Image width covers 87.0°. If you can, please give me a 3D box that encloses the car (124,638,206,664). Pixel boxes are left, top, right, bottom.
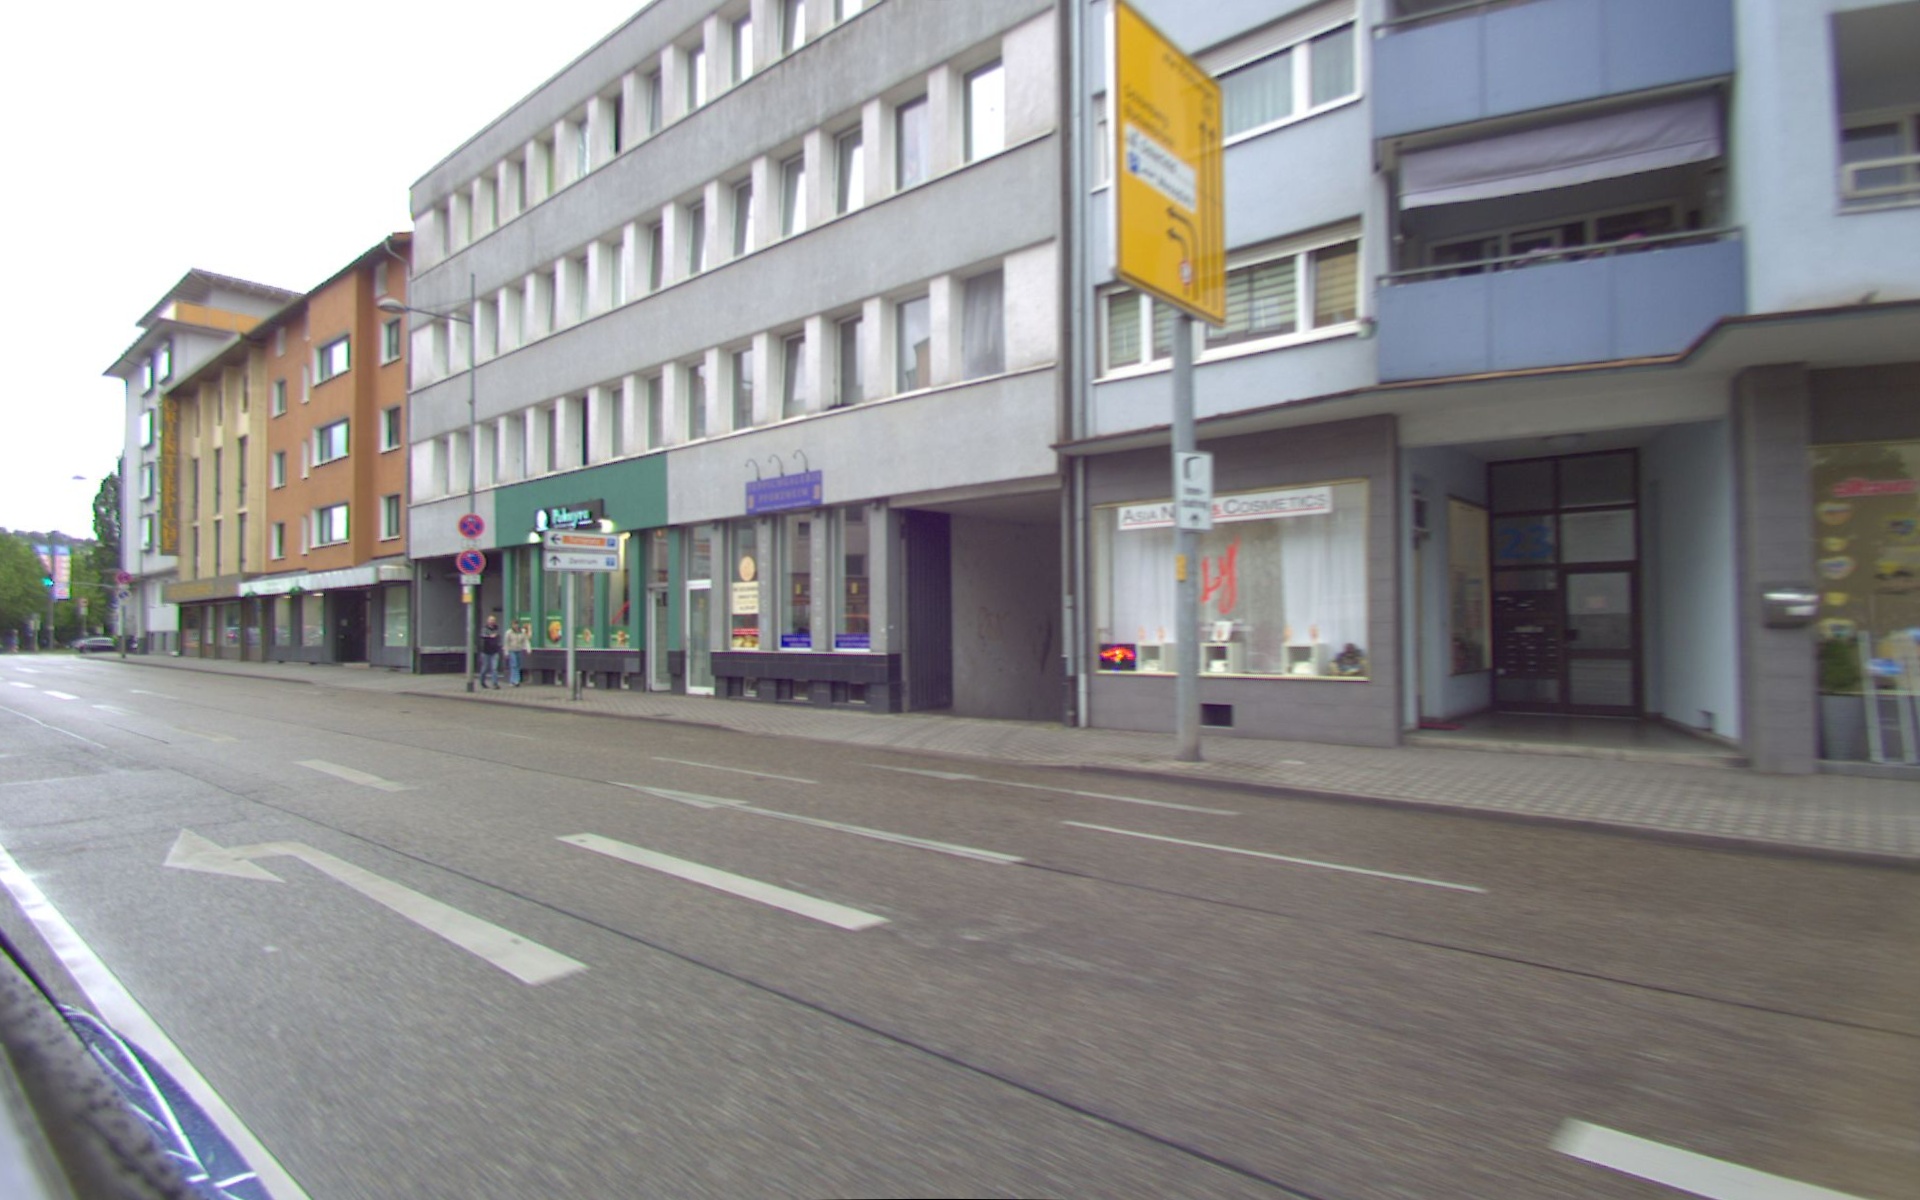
[{"bbox_3d":[-50.435,3.251,64.277,1.797,1.431,3.772,0,-4,41],"label":"car"}]

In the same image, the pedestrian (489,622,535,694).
[{"bbox_3d":[-11.080,1.422,25.048,0.907,1.688,0.624,-2,2,40],"label":"pedestrian"}]

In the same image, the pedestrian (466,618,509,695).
[{"bbox_3d":[-11.498,1.366,24.606,0.826,1.801,0.569,-2,2,41],"label":"pedestrian"}]
